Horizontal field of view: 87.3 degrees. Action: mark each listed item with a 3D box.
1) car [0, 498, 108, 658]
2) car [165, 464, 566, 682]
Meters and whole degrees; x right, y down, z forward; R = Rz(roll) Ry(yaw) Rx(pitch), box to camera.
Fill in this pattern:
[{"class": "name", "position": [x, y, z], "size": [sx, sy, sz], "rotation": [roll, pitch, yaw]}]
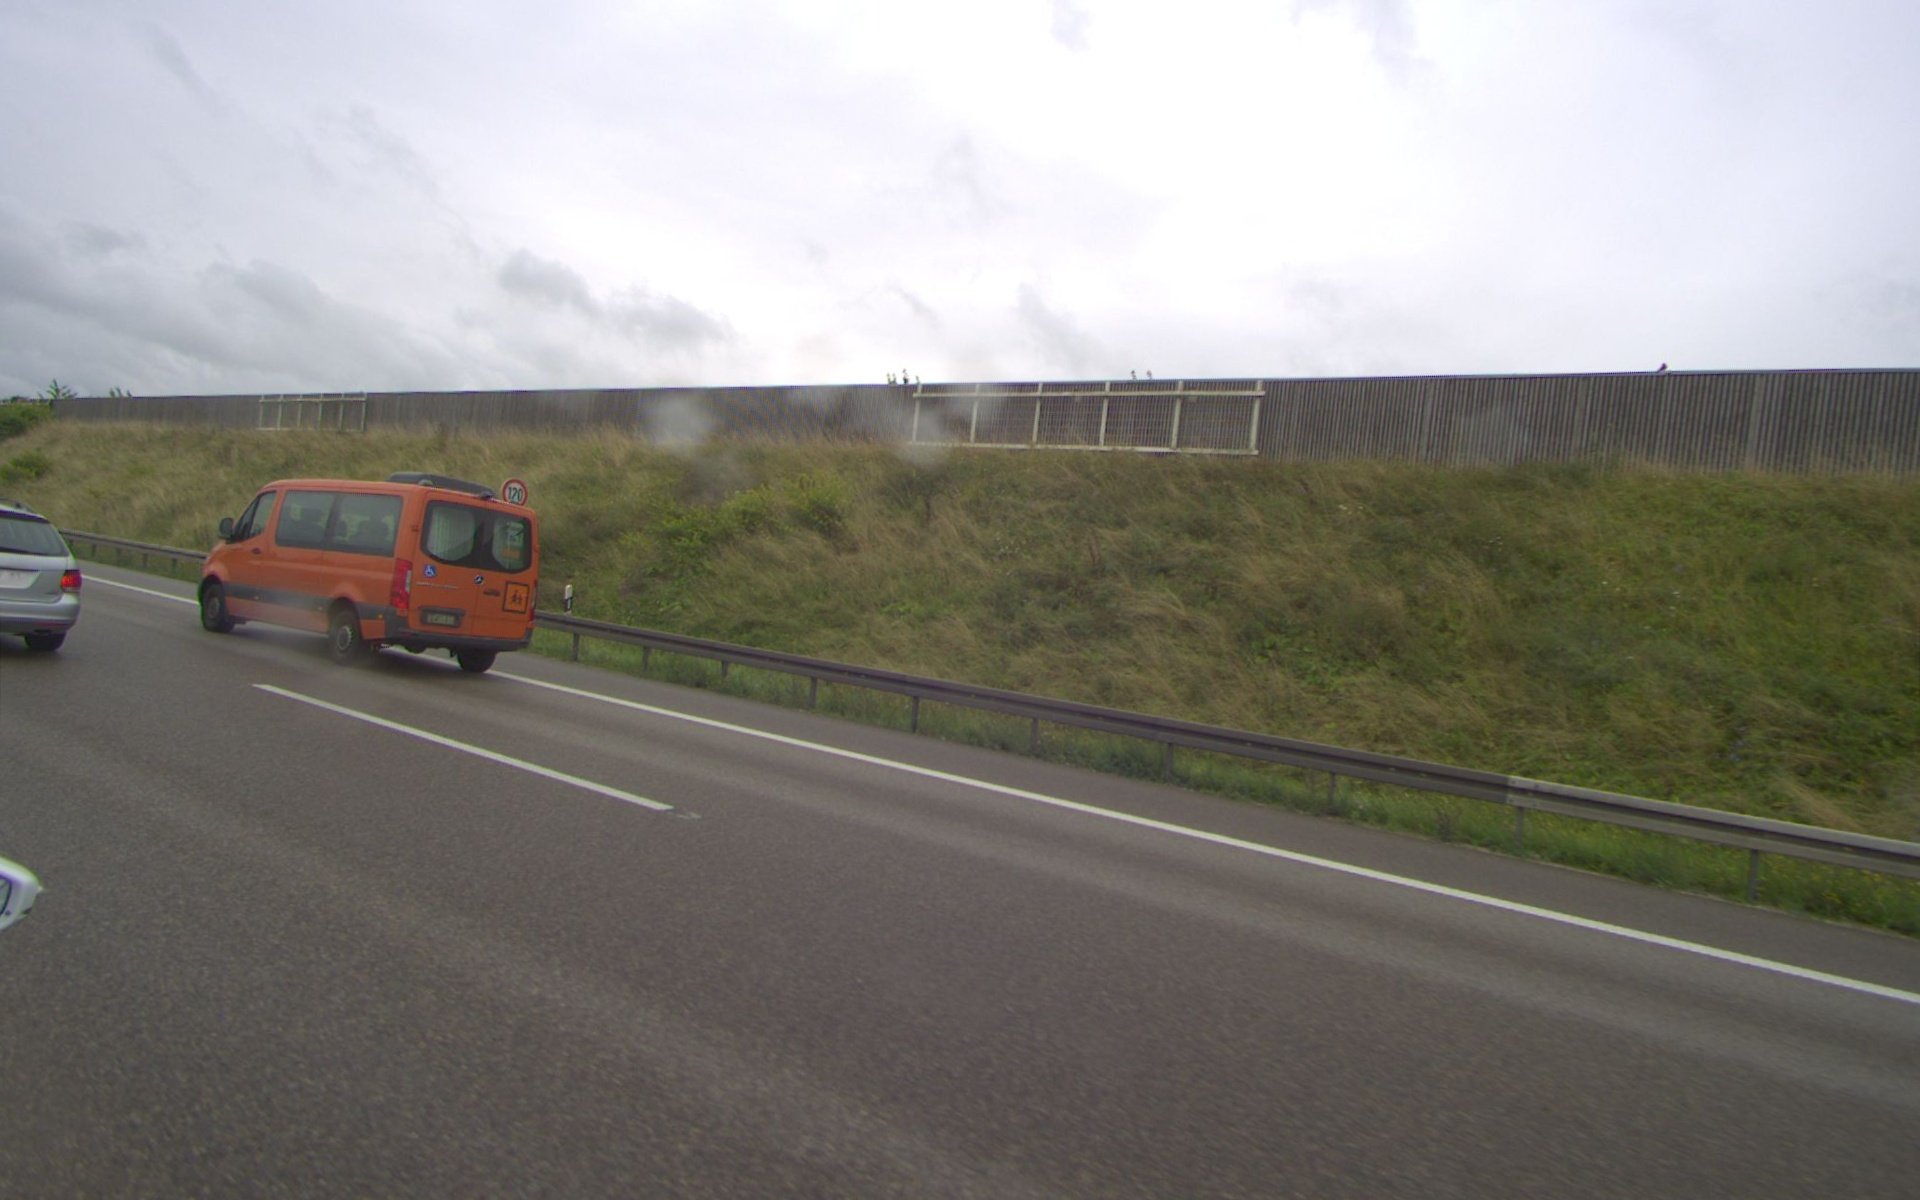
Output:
[{"class": "car", "position": [-10.736, -0.431, 10.270], "size": [4.442, 1.442, 1.744], "rotation": [7, 0, 32]}, {"class": "car", "position": [-8.594, -0.455, 14.319], "size": [6.077, 2.343, 2.089], "rotation": [7, 0, 31]}]
